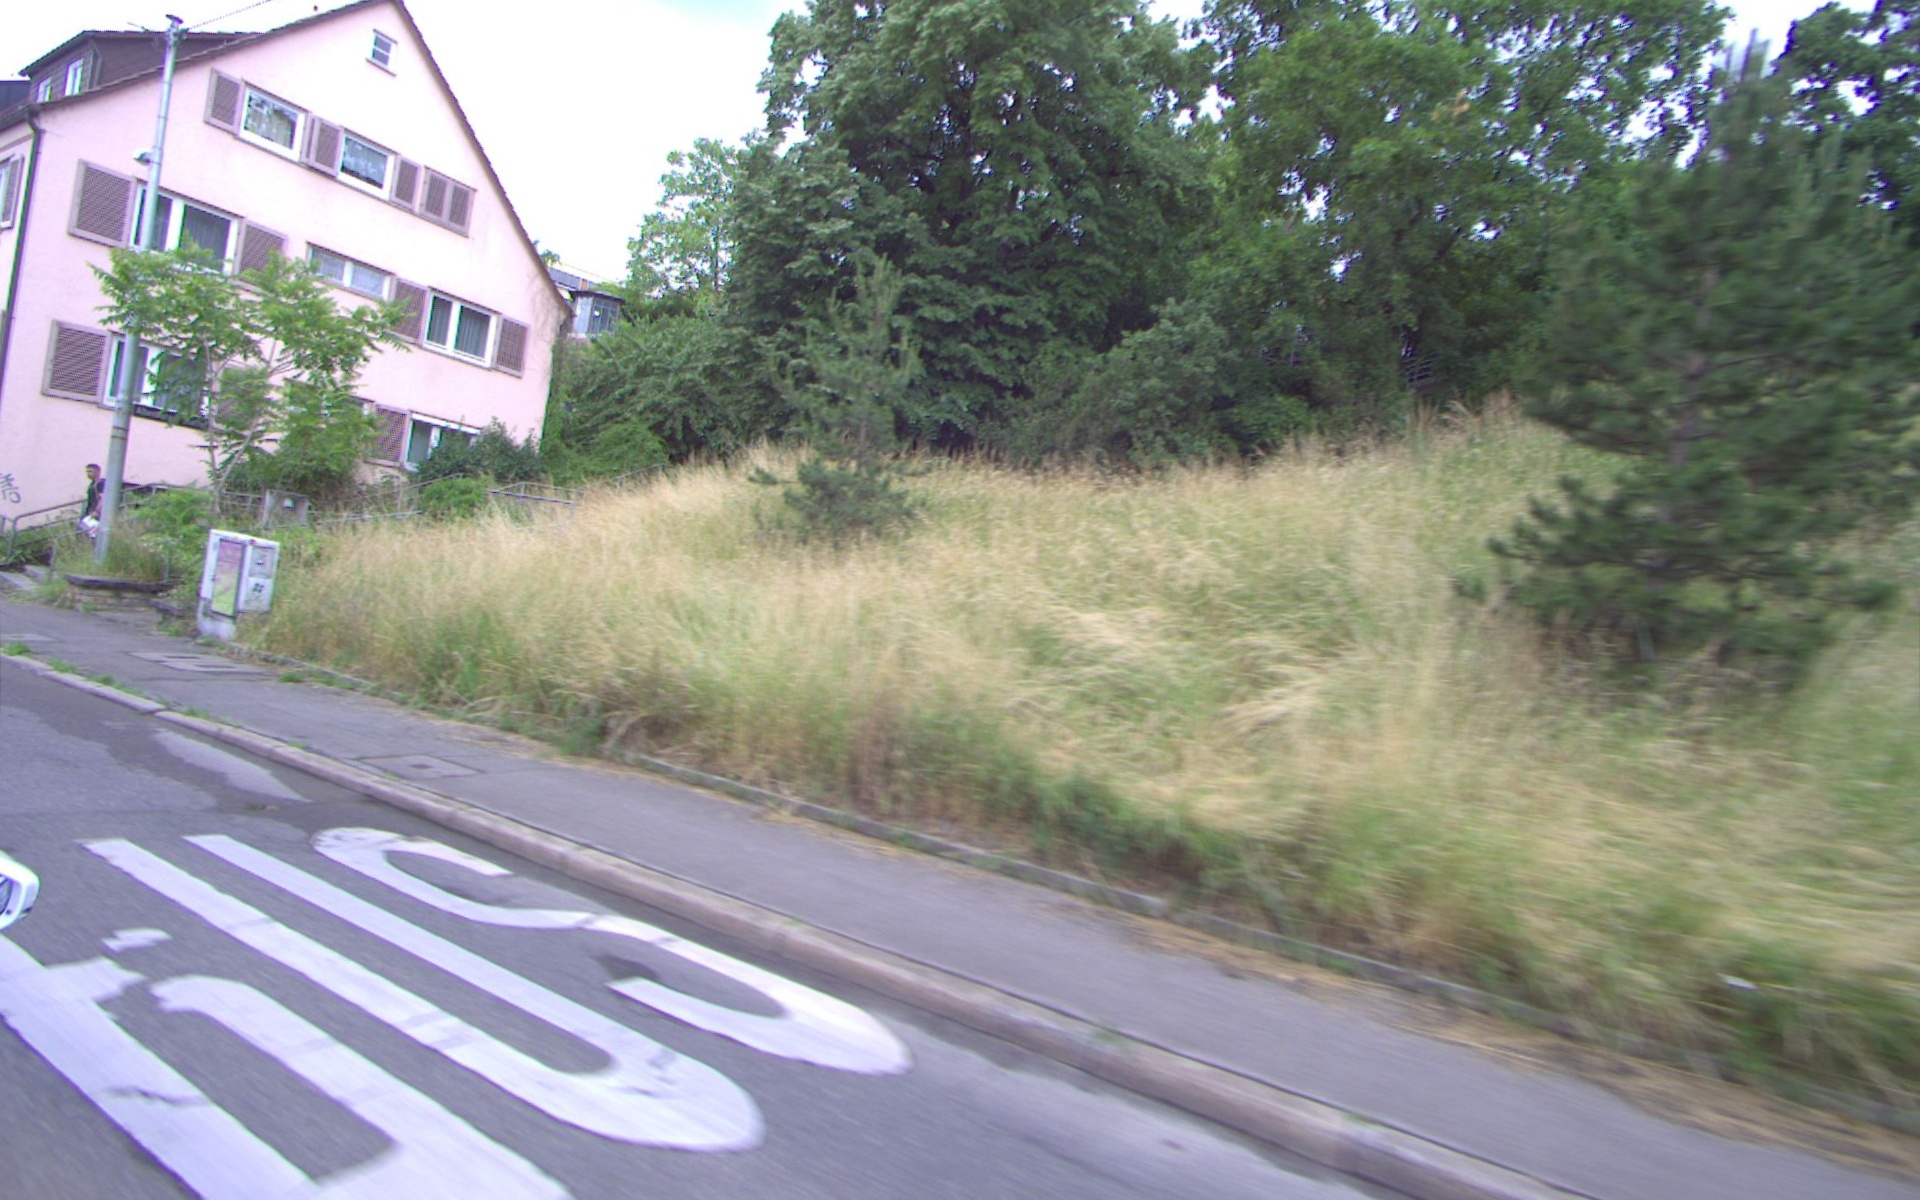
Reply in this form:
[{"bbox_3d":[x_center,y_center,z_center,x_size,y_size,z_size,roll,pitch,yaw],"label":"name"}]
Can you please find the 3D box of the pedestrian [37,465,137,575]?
[{"bbox_3d":[-15.274,-1.393,17.621,0.858,1.714,0.889,7,-3,28],"label":"pedestrian"}]
